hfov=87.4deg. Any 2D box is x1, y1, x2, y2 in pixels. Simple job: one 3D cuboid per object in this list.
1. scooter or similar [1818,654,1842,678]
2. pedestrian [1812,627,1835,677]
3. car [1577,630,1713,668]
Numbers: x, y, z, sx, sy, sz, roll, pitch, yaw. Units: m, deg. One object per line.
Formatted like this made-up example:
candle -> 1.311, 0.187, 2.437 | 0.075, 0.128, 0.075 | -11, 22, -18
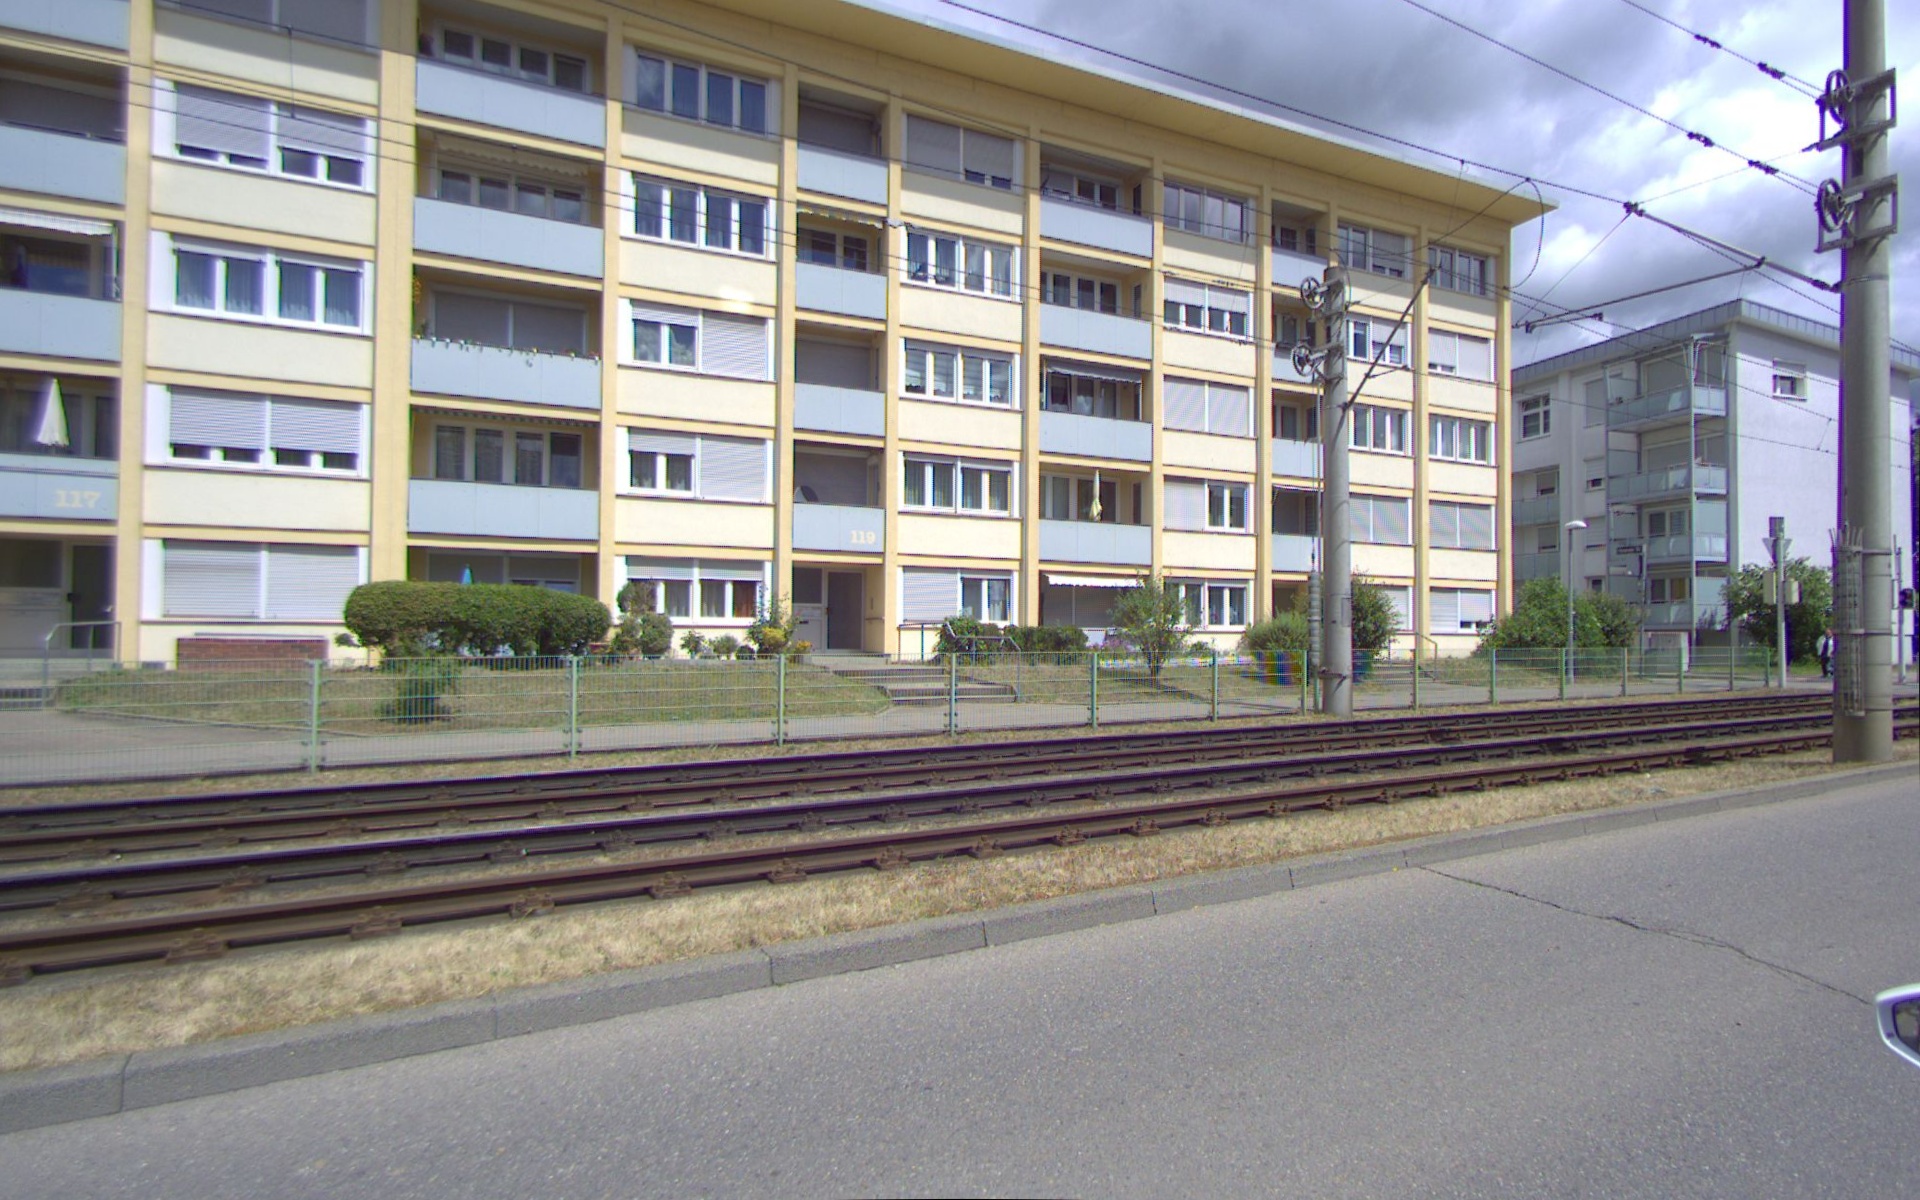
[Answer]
scooter or similar -> 27.969, 2.109, 32.293 | 0.468, 0.757, 0.436 | 1, -1, -25
pedestrian -> 28.139, 1.695, 32.736 | 0.468, 1.601, 0.436 | 1, -1, -25
car -> 26.348, 1.842, 38.789 | 1.873, 1.363, 3.980 | 1, -2, -21
